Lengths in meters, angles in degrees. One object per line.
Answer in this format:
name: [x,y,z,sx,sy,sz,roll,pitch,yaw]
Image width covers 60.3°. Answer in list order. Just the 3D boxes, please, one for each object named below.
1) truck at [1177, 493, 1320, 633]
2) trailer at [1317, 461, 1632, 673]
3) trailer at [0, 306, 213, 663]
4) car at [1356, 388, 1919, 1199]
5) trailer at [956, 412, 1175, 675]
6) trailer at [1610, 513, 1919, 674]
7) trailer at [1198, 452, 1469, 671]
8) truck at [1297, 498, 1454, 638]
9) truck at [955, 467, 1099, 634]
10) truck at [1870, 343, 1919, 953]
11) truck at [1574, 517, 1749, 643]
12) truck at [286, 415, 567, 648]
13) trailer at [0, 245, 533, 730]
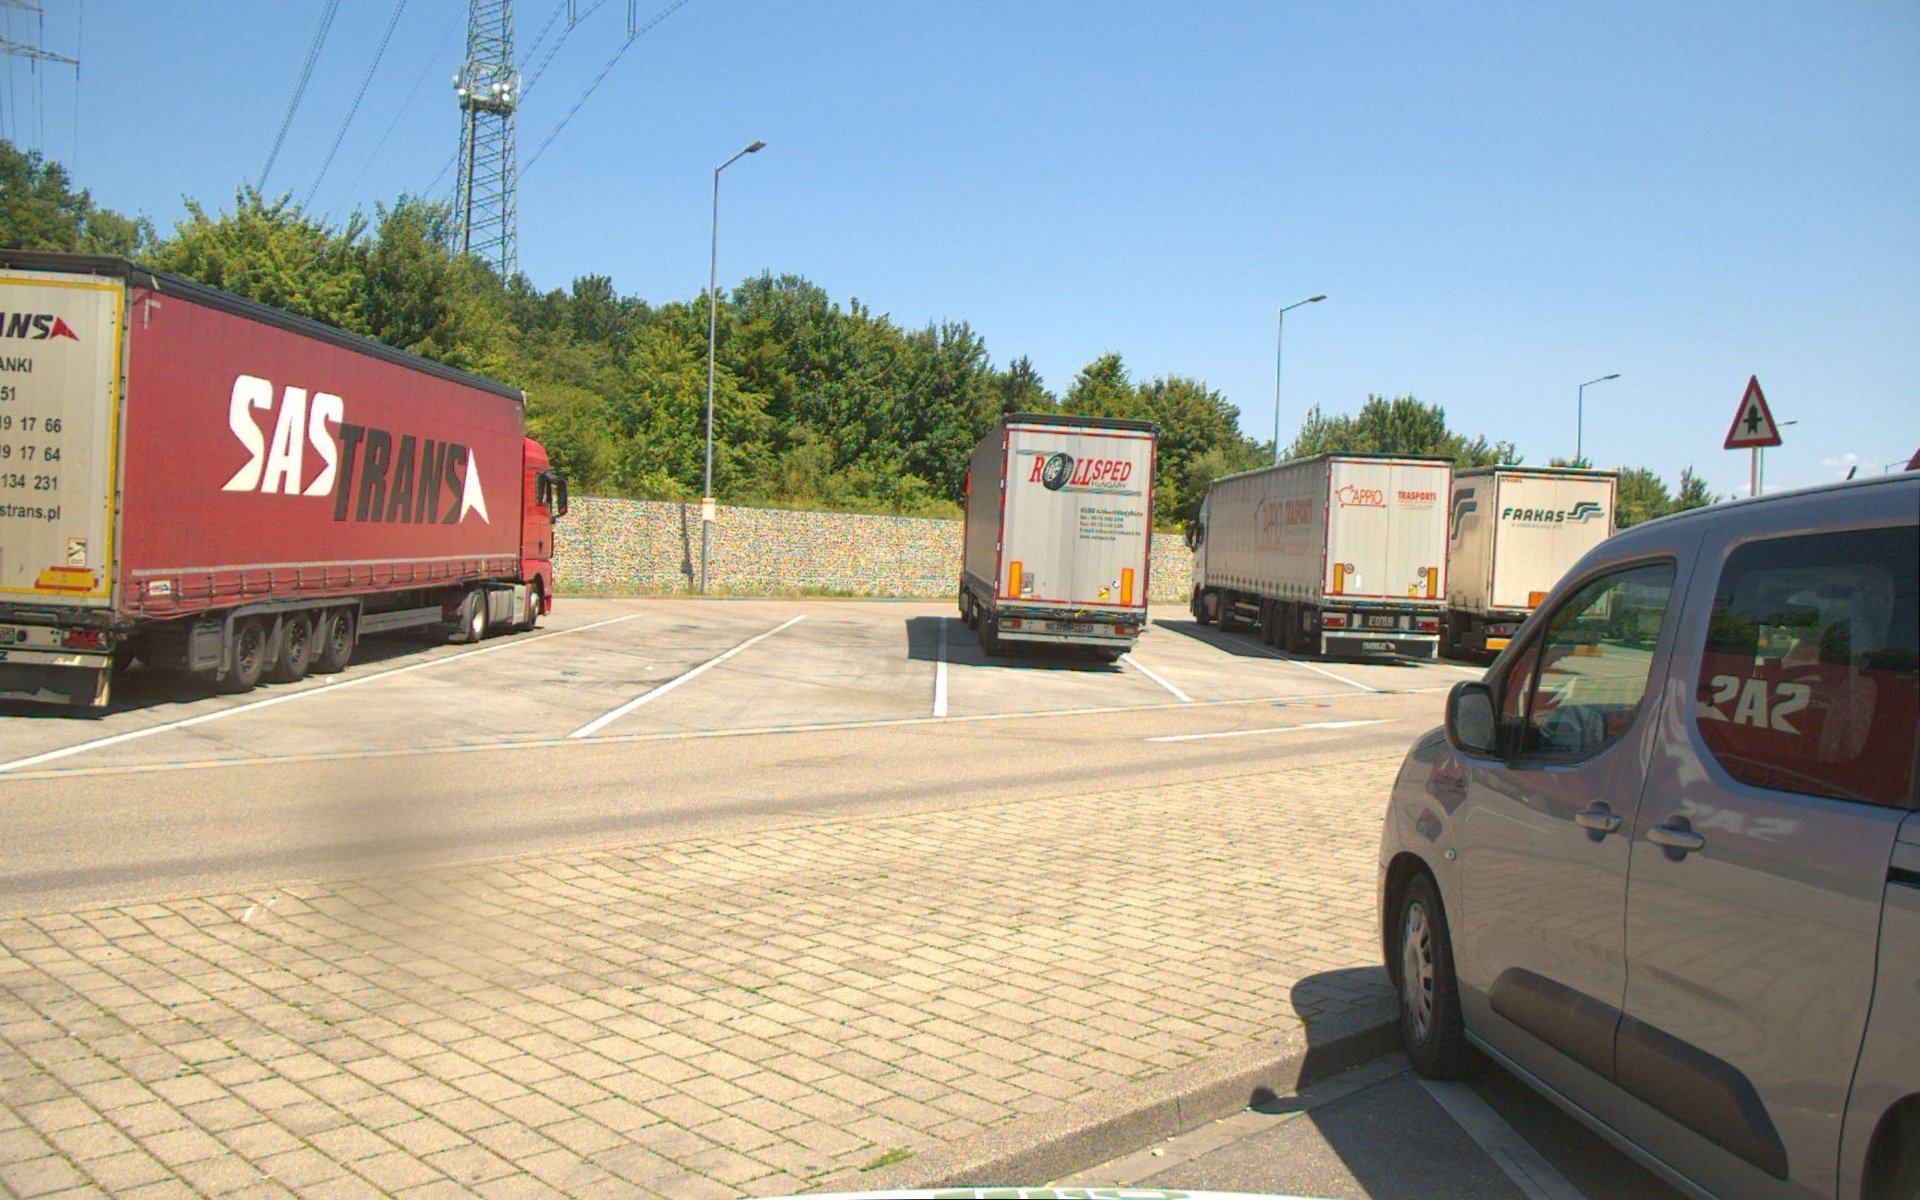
truck: [8.065,-1.092,46.931,2.804,3.582,5.900,3,2,-1]
trailer: [11.745,-0.935,39.935,2.754,4.058,14.395,3,2,-1]
trailer: [-12.543,-1.335,17.695,2.739,4.155,14.131,3,2,-1]
car: [2.448,0.604,3.837,1.832,1.896,4.174,3,1,-2]
trailer: [1.669,-1.193,33.623,3.070,4.058,14.393,3,2,-1]
trailer: [21.855,-0.391,44.485,2.754,3.568,14.395,3,2,-1]
trailer: [8.182,-1.029,38.831,2.754,4.058,14.395,3,2,-1]
truck: [11.657,-0.961,46.944,2.746,3.582,5.900,3,2,-1]
truck: [1.513,-1.239,40.513,3.041,3.628,5.900,3,2,-1]
truck: [5.010,0.200,4.960,1.937,2.668,5.307,1,0,4]
truck: [21.778,-0.695,51.715,2.746,3.582,5.900,3,2,-1]
truck: [-8.781,-1.149,27.988,2.793,3.385,5.900,3,2,-1]
trailer: [-8.716,-1.289,21.417,2.735,4.155,14.131,3,2,-1]
